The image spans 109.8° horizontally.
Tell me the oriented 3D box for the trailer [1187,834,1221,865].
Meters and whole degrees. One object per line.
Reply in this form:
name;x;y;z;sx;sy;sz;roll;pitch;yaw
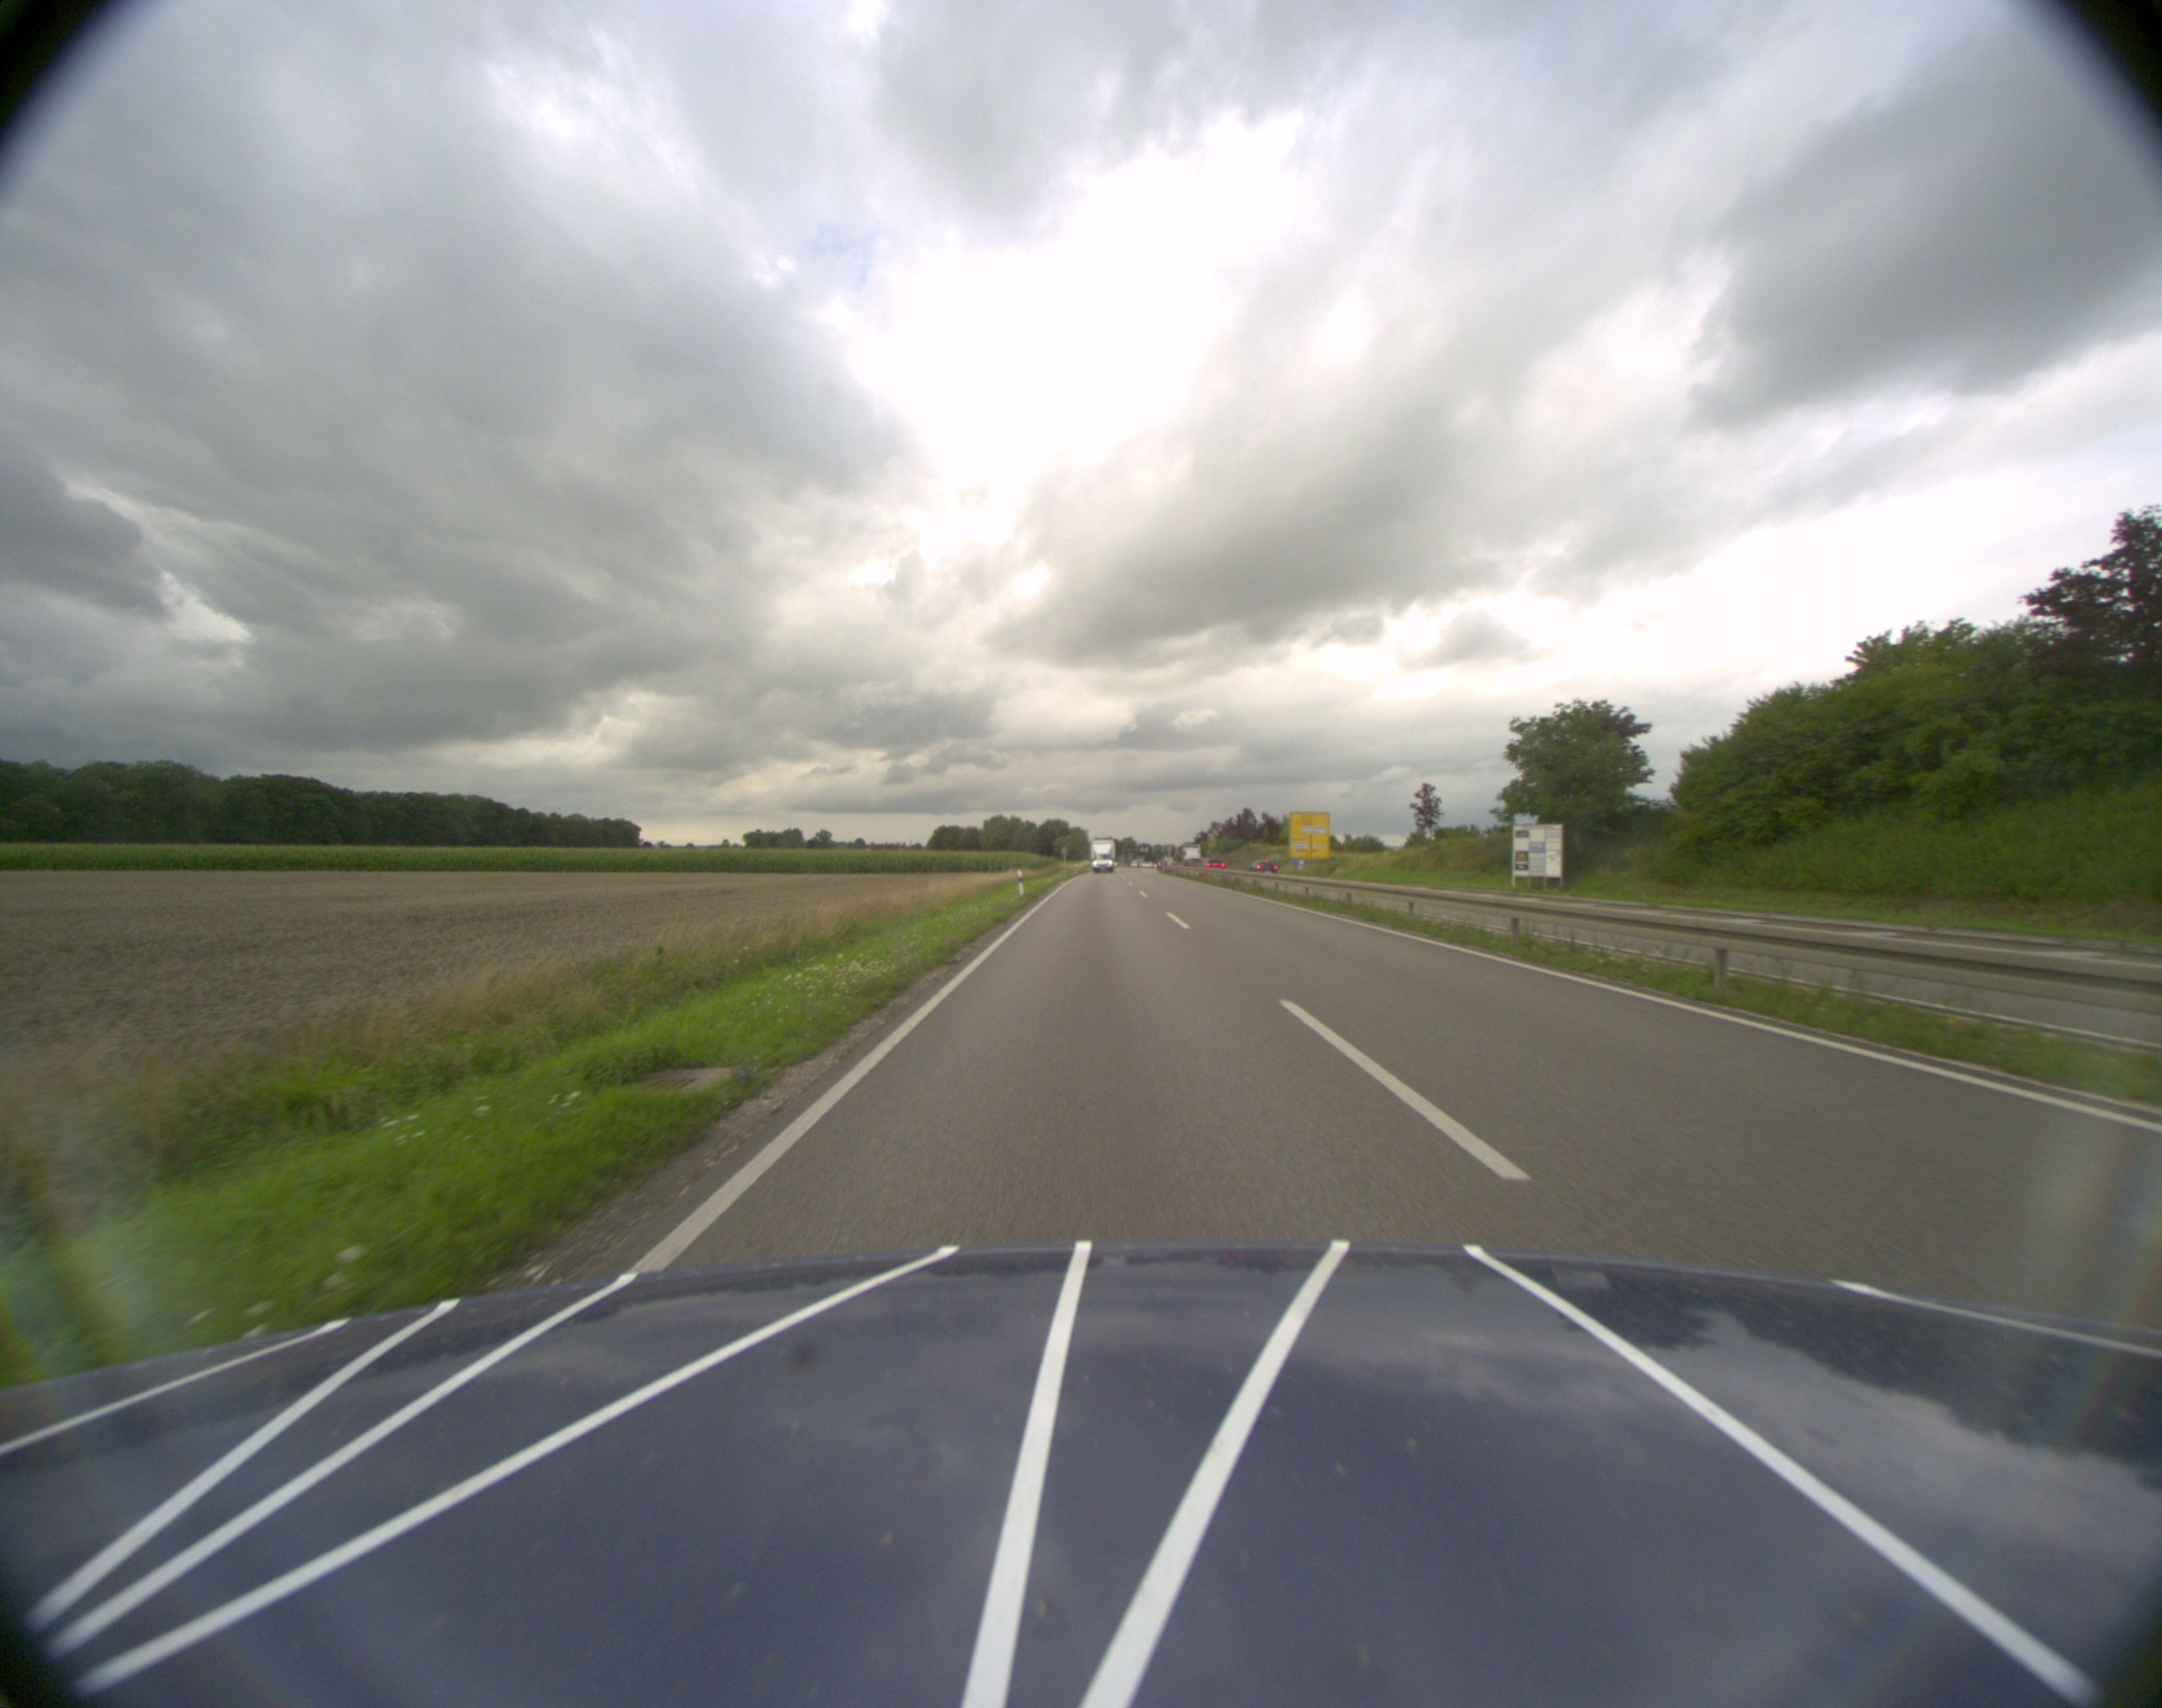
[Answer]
trailer;16.496;-0.452;102.898;2.782;3.923;12.988;0;-1;1

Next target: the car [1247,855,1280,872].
car;14.666;0.789;61.160;1.695;1.316;4.418;0;-1;2

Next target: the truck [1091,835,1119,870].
truck;2.719;-0.114;84.894;2.934;3.652;8.445;0;-1;2

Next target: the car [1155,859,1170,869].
car;12.415;1.515;115.587;2.090;1.510;4.194;0;-1;3

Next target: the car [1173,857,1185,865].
car;18.553;1.390;144.225;1.736;1.521;4.549;1;-1;2

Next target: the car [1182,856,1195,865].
car;17.938;1.114;127.104;1.736;1.521;4.195;1;-1;2

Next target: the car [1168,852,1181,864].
car;19.873;0.877;161.969;2.038;2.425;5.636;2;-1;2

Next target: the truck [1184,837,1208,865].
truck;16.728;-0.403;110.470;2.809;3.973;5.288;0;0;2

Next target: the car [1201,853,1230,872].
car;11.063;0.721;62.744;1.758;1.477;4.577;0;-1;2
